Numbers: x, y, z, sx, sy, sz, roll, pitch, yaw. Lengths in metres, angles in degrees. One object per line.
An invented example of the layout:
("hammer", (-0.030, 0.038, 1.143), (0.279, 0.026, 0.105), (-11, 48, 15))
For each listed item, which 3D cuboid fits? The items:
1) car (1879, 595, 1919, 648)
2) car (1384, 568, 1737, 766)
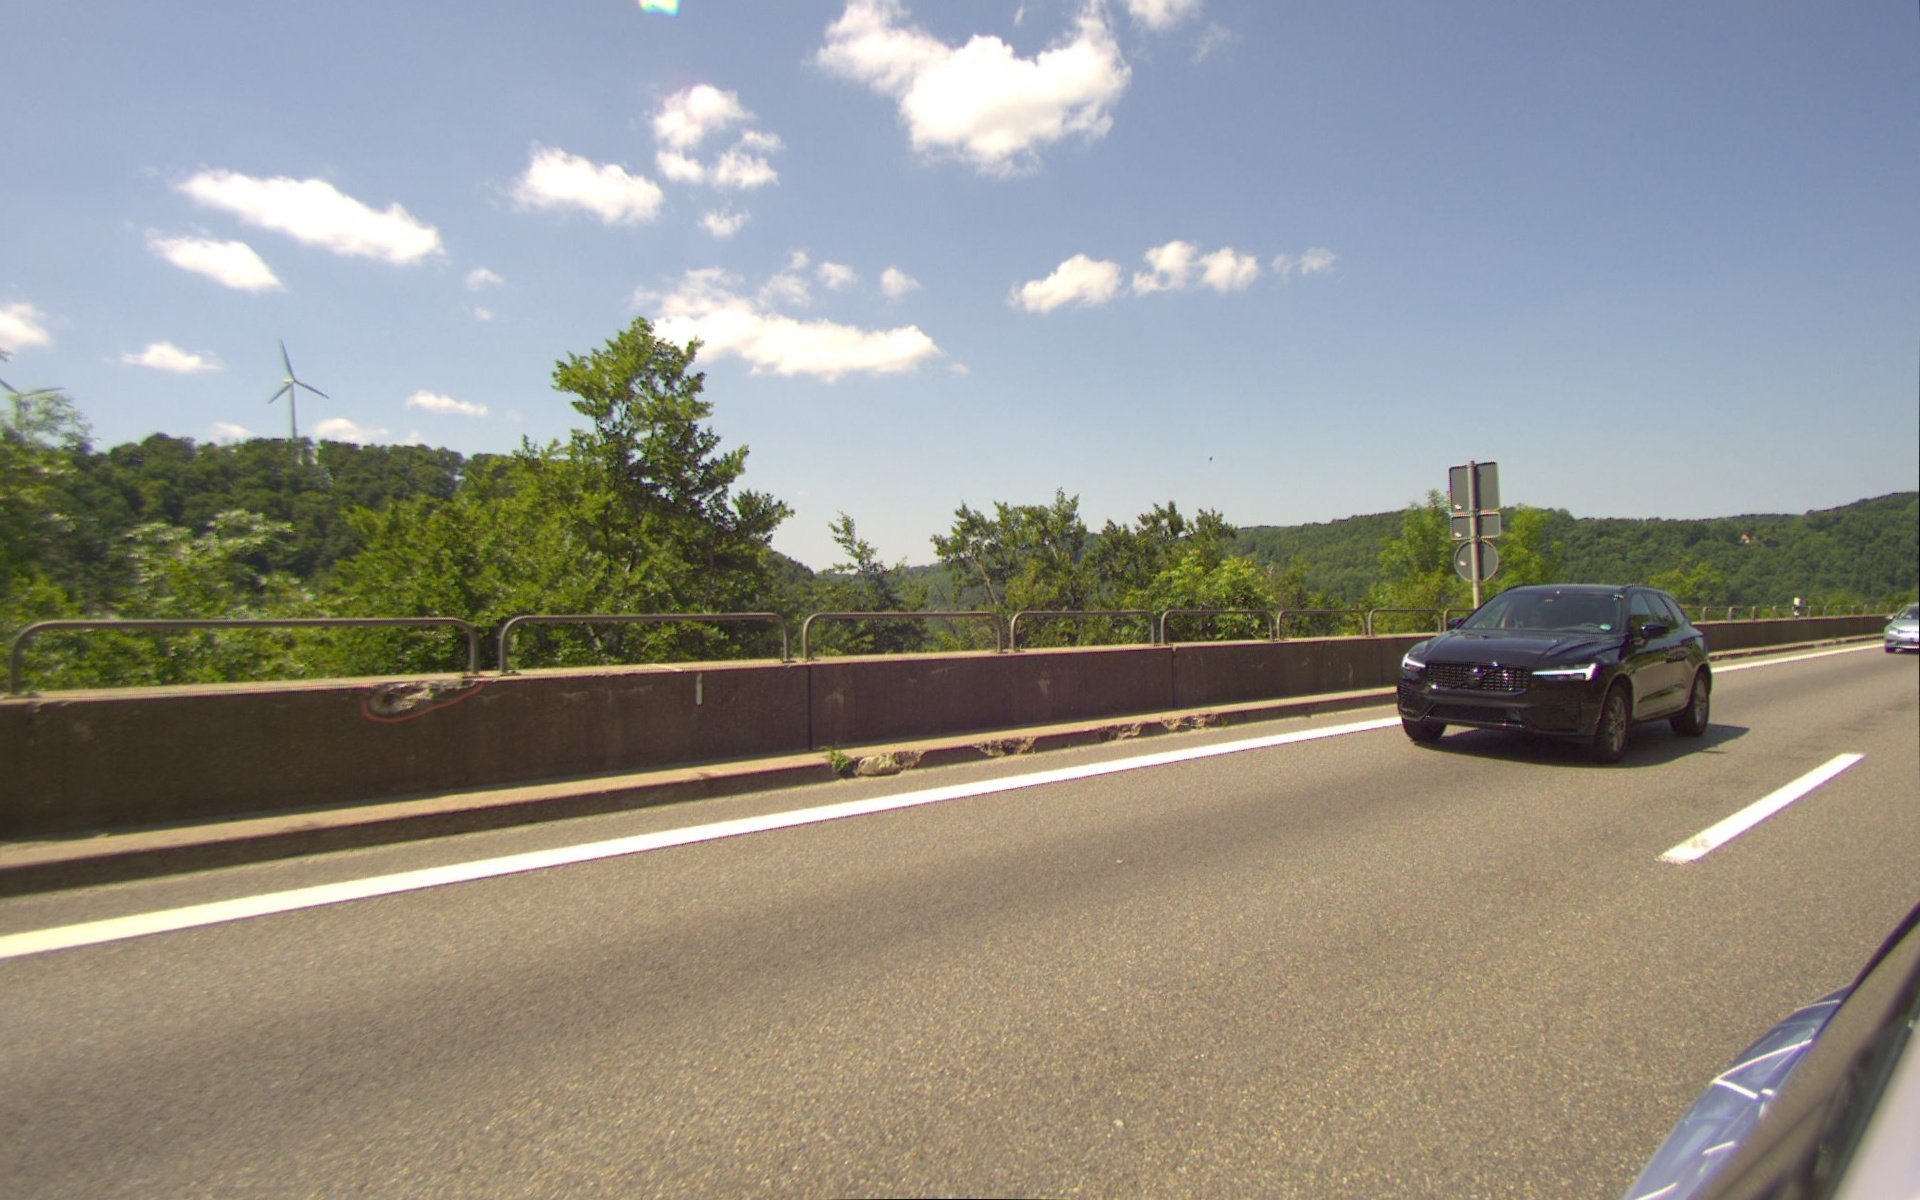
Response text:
("car", (27.849, 0.564, 28.601), (4.213, 1.395, 1.973), (-1, 0, -36))
("car", (6.468, 0.550, 10.673), (4.580, 1.654, 1.838), (0, 0, -41))
